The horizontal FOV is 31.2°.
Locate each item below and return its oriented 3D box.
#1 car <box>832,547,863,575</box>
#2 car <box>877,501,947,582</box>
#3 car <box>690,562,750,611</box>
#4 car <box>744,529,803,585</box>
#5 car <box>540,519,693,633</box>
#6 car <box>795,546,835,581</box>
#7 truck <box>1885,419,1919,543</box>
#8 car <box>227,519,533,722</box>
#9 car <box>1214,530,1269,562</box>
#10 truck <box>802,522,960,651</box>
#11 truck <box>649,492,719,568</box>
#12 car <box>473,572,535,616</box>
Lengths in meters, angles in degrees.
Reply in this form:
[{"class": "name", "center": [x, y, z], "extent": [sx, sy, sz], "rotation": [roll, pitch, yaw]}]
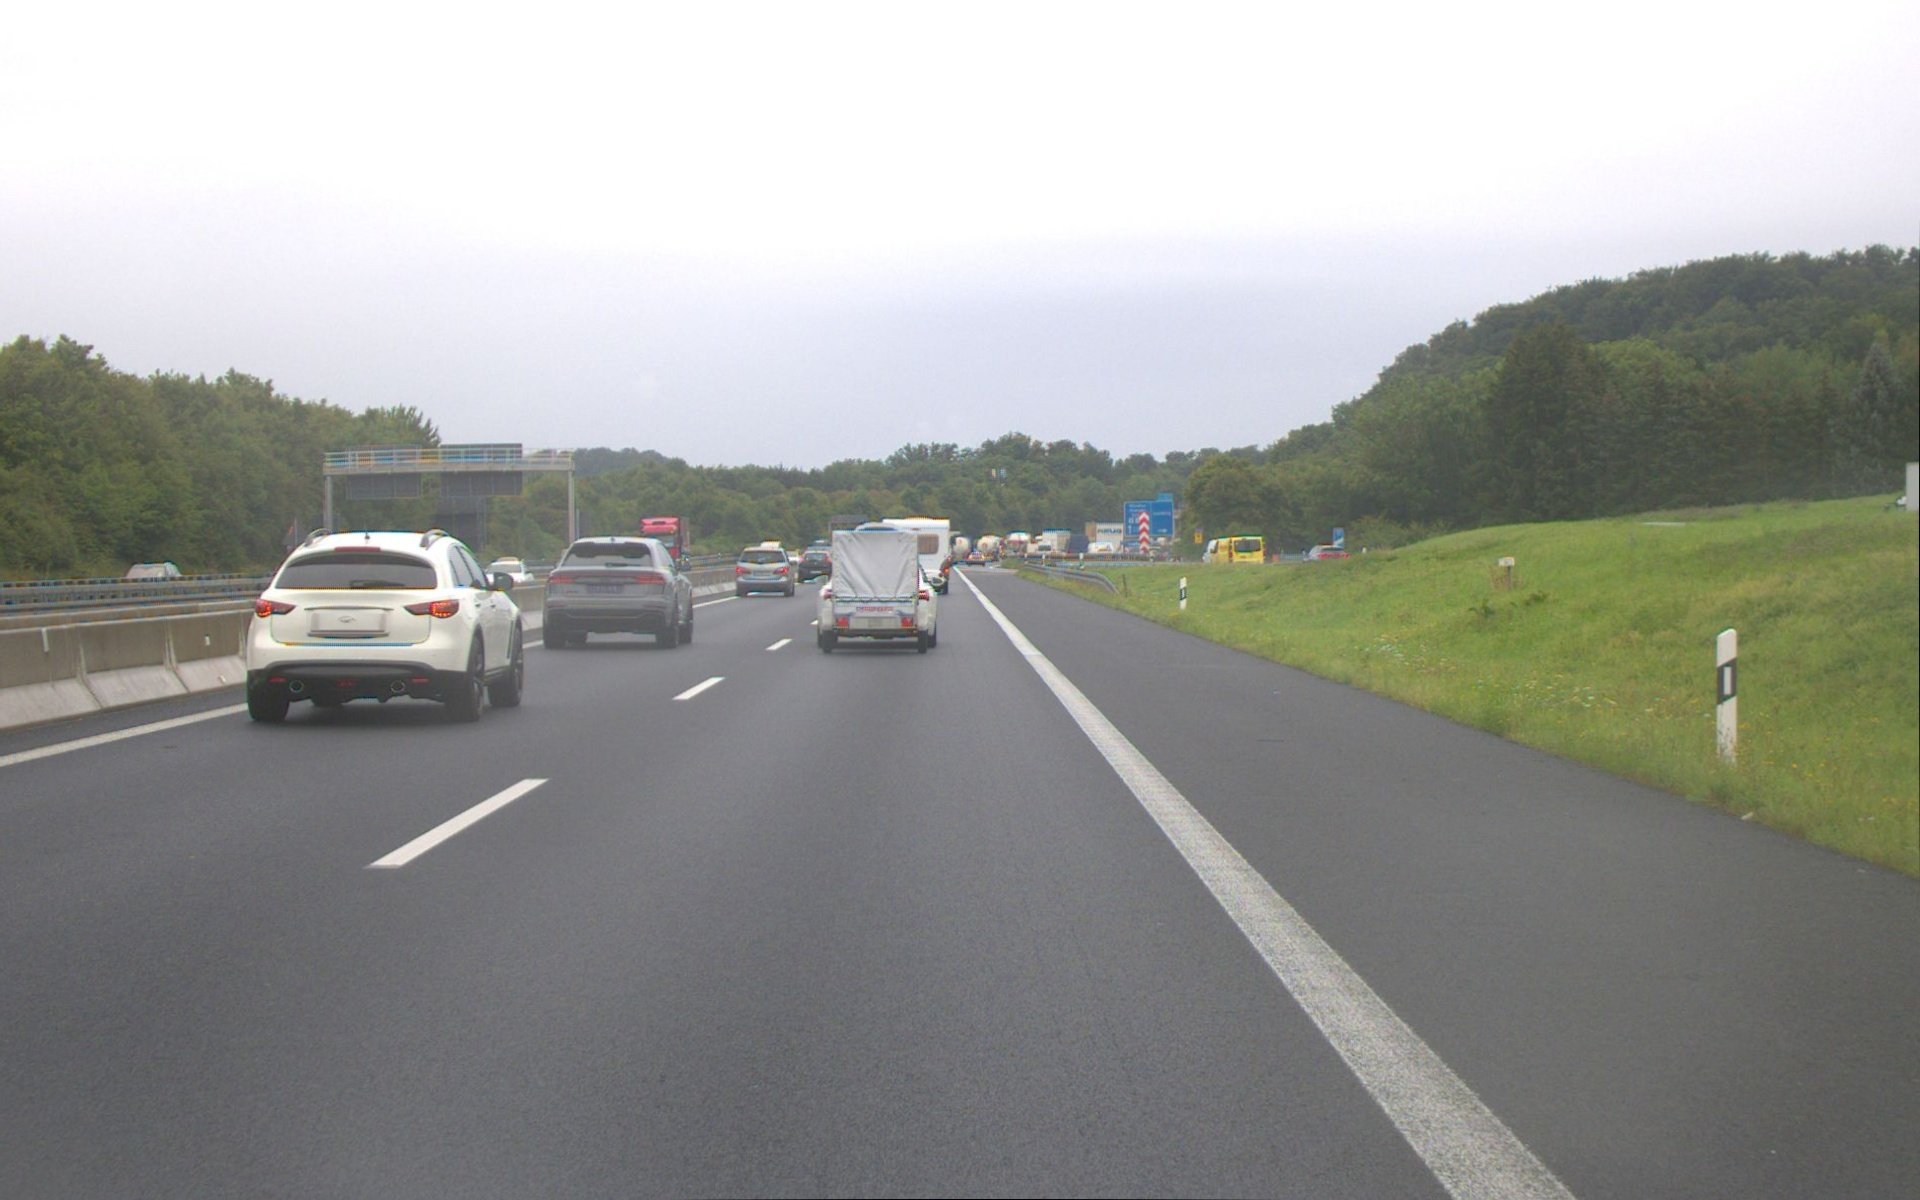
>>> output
[{"class": "car", "center": [-6.476, -2.245, 198.730], "extent": [1.645, 1.568, 4.000], "rotation": [1, 1, 0]}, {"class": "car", "center": [-1.627, -1.996, 118.684], "extent": [2.331, 2.716, 6.540], "rotation": [0, 1, 0]}, {"class": "car", "center": [-8.445, -0.479, 121.283], "extent": [1.819, 1.656, 4.017], "rotation": [0, 1, 0]}, {"class": "car", "center": [-5.996, -1.398, 110.941], "extent": [1.738, 1.787, 4.000], "rotation": [0, 1, -1]}, {"class": "car", "center": [-5.331, -0.398, 53.905], "extent": [1.975, 1.697, 4.802], "rotation": [1, 1, -1]}, {"class": "car", "center": [-6.671, -1.682, 157.991], "extent": [1.645, 1.568, 4.000], "rotation": [1, 1, 0]}, {"class": "truck", "center": [30.547, -3.508, 100.865], "extent": [3.824, 3.646, 8.273], "rotation": [1, 1, -6]}, {"class": "car", "center": [-5.082, 0.131, 30.719], "extent": [2.048, 1.665, 4.541], "rotation": [0, 1, -1]}, {"class": "car", "center": [13.888, -2.672, 169.675], "extent": [1.993, 1.546, 4.001], "rotation": [1, 1, -5]}, {"class": "truck", "center": [-1.204, -0.251, 52.505], "extent": [2.242, 1.833, 6.585], "rotation": [0, 1, -1]}, {"class": "truck", "center": [-17.501, -4.434, 218.634], "extent": [3.400, 4.717, 10.485], "rotation": [0, 1, 1]}, {"class": "car", "center": [-17.815, -0.240, 134.569], "extent": [1.993, 1.656, 4.314], "rotation": [-1, 1, -2]}]
